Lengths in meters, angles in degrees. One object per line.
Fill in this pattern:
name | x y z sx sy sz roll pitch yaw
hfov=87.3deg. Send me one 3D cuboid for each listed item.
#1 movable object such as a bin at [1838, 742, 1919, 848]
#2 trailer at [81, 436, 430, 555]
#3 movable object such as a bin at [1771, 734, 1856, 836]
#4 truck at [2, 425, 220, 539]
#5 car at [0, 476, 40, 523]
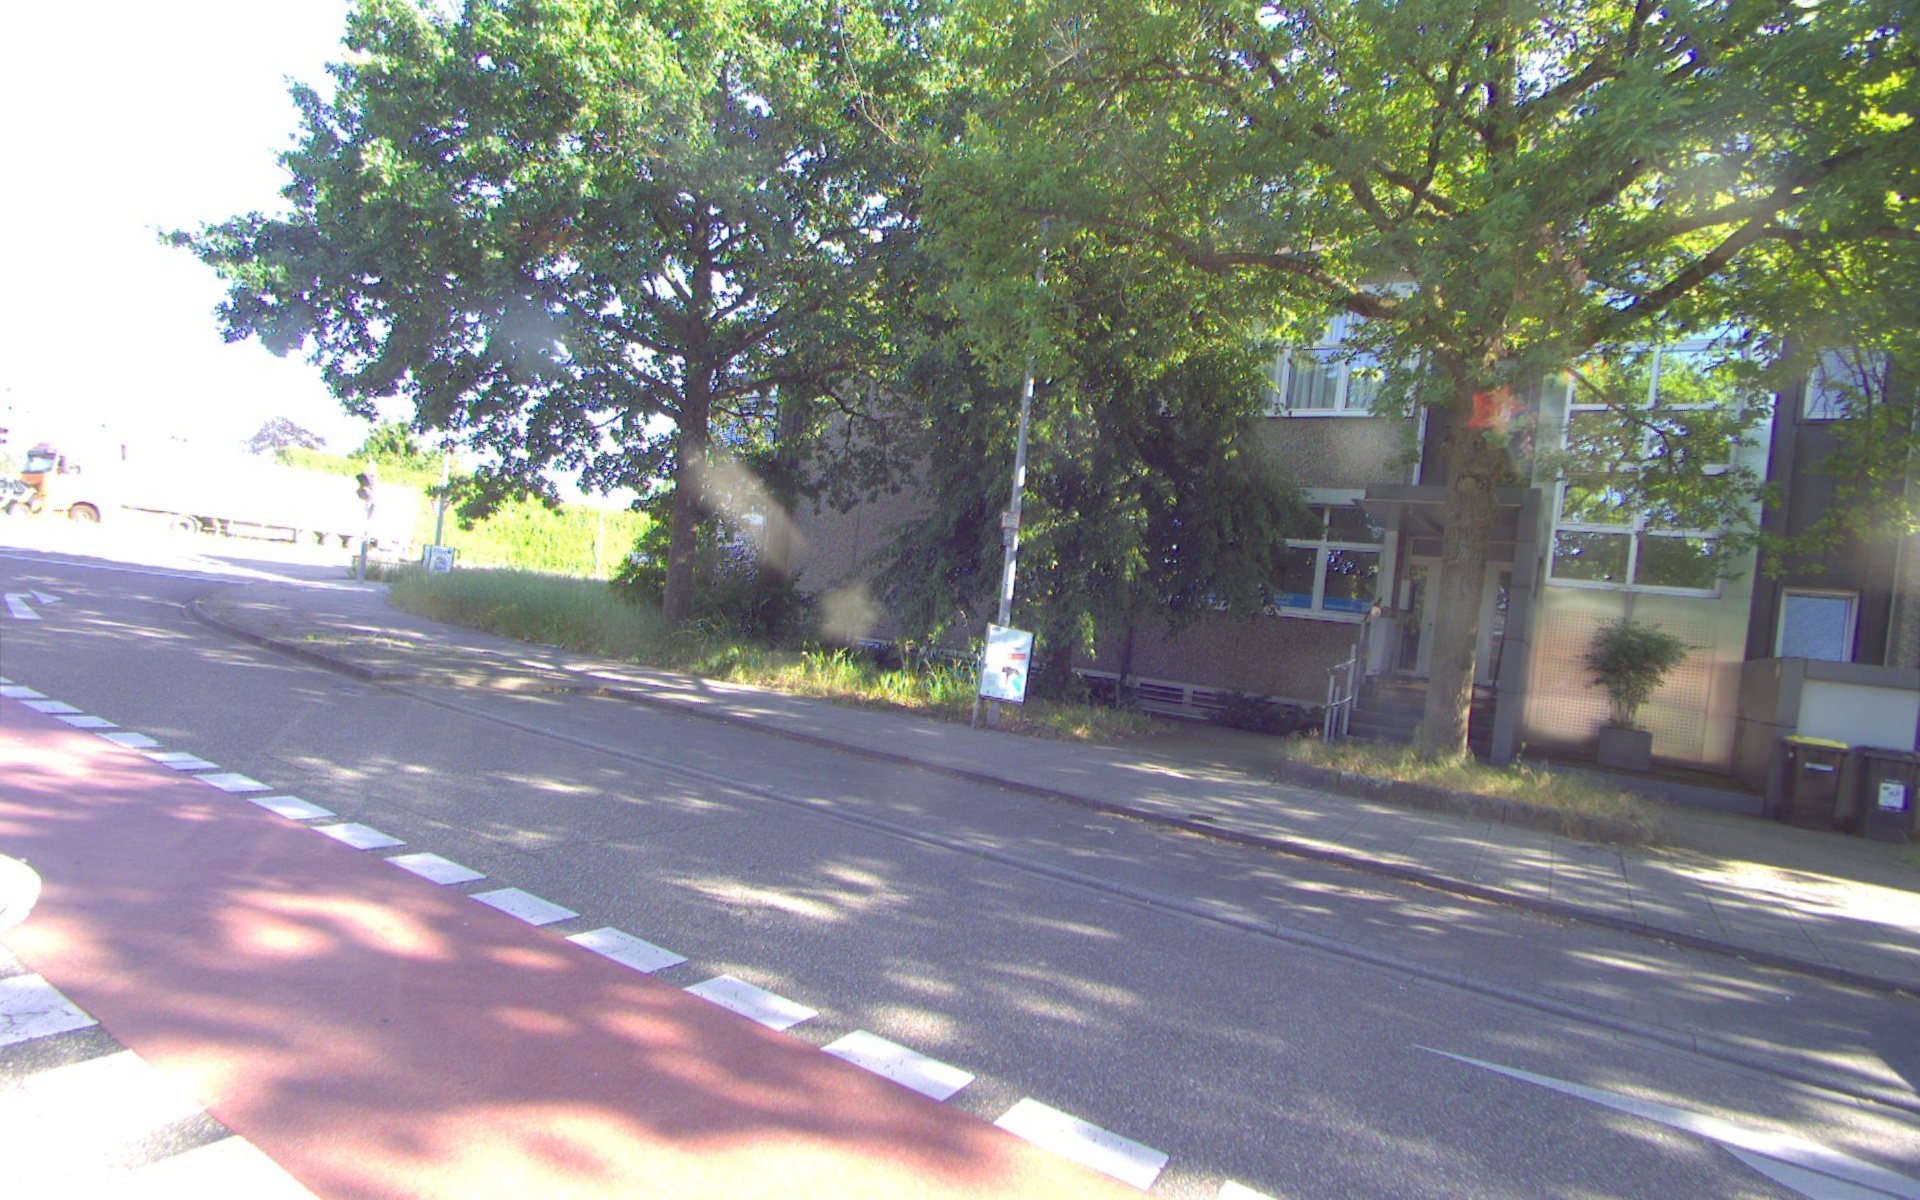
movable object such as a bin | 10.763 2.255 11.719 0.605 1.075 0.634 6 0 30
trailer | -34.784 -4.959 51.123 3.379 4.065 14.681 6 1 25
movable object such as a bin | 10.174 2.187 12.012 0.575 1.070 0.625 7 0 30
truck | -37.642 -5.143 44.881 3.379 4.066 6.486 7 2 25
car | -34.947 -3.715 34.912 1.737 1.545 4.074 7 1 26
